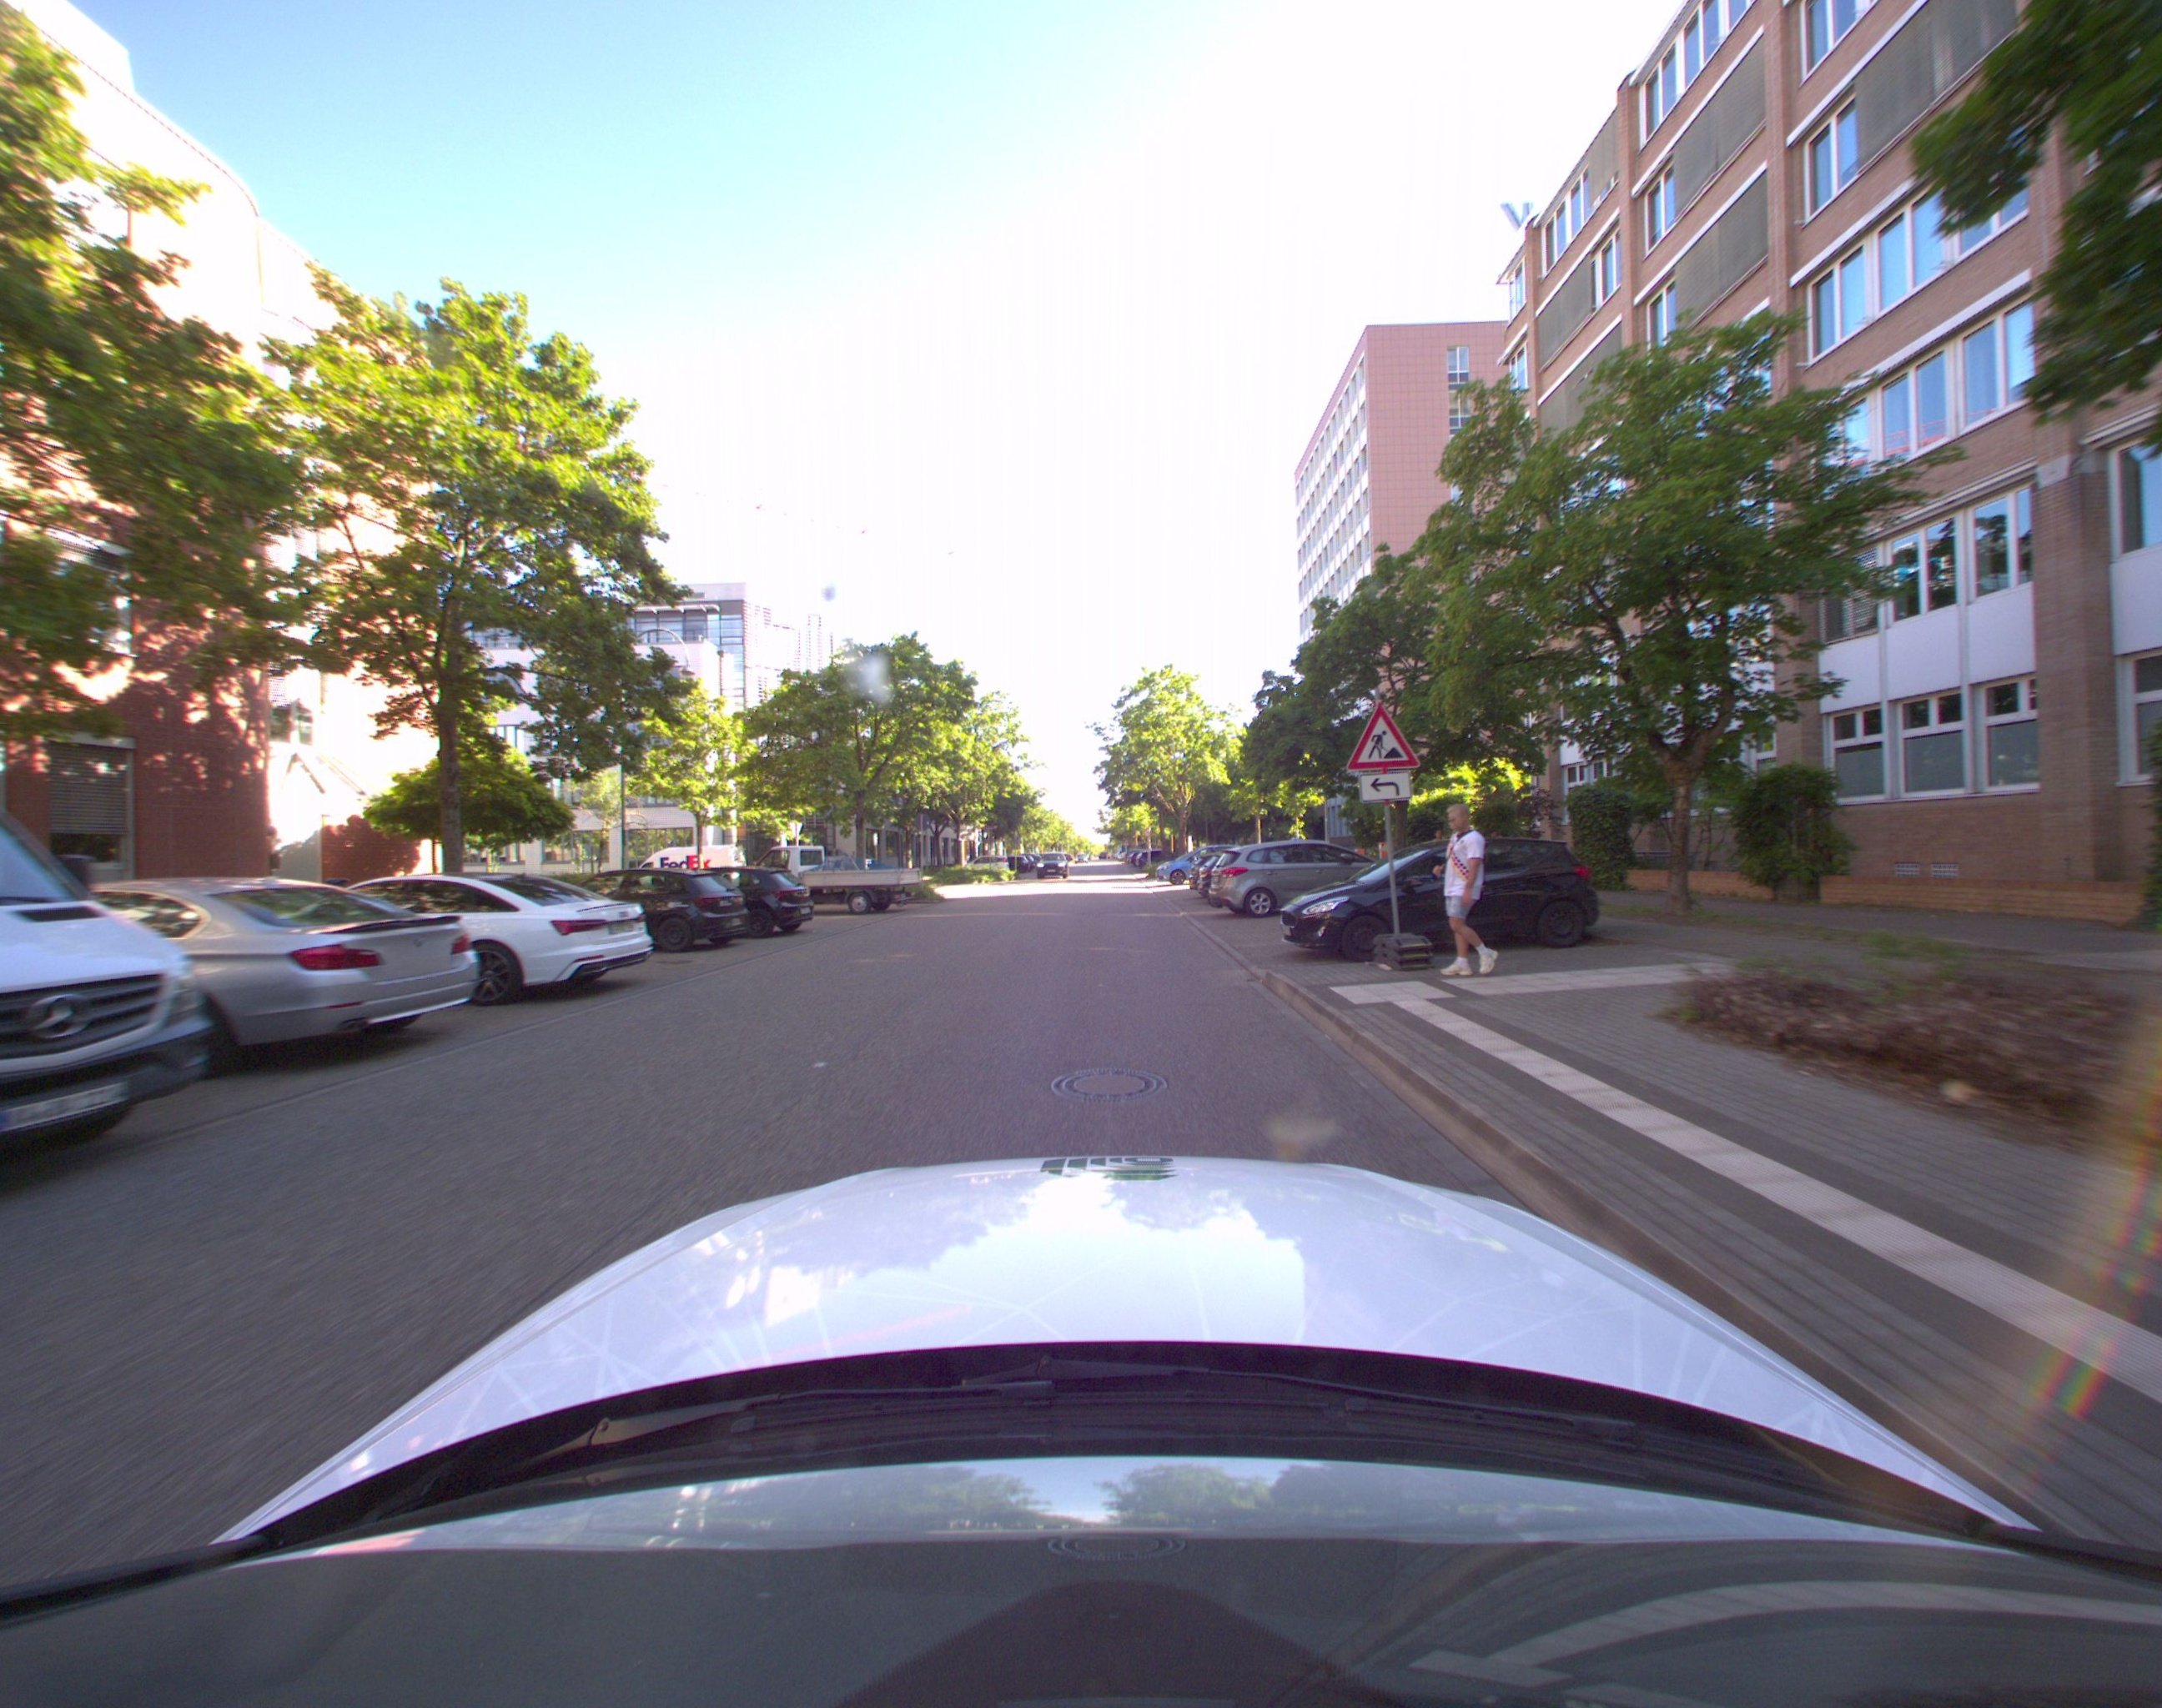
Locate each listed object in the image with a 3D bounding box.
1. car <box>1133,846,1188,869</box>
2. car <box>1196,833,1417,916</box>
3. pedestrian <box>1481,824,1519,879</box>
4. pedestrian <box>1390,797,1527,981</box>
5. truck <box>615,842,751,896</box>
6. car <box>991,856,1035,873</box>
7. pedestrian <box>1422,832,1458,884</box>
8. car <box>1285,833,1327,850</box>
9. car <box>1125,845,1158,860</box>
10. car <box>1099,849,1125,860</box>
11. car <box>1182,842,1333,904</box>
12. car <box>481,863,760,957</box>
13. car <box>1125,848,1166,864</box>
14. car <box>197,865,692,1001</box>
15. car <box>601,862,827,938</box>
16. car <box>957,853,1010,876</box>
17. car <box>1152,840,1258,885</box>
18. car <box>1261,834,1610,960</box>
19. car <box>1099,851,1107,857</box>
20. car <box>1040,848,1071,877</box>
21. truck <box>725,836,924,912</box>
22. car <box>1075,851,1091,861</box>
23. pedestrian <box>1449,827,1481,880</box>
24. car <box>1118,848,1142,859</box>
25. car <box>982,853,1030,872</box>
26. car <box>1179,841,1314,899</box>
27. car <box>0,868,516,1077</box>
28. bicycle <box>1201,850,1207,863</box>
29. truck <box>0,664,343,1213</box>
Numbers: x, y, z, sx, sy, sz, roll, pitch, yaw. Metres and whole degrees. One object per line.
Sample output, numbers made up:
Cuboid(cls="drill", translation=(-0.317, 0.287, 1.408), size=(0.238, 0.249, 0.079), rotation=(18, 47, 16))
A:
Cuboid(cls="car", translation=(6.474, 0.269, 66.796), size=(4.255, 1.633, 1.857), rotation=(-2, 0, -1))
Cuboid(cls="car", translation=(4.949, 0.425, 18.223), size=(4.345, 1.597, 1.936), rotation=(-2, 0, -5))
Cuboid(cls="pedestrian", translation=(12.186, -0.087, 23.690), size=(0.754, 1.552, 0.559), rotation=(-2, 0, -1))
Cuboid(cls="pedestrian", translation=(3.796, 0.331, 8.234), size=(0.918, 1.711, 0.695), rotation=(-5, 0, -12))
Cuboid(cls="truck", translation=(-21.855, 0.804, 44.923), size=(6.087, 2.704, 2.576), rotation=(-2, 0, -2))
Cuboid(cls="car", translation=(-5.983, 0.916, 72.120), size=(3.720, 1.464, 1.676), rotation=(-1, 0, 0))
Cuboid(cls="pedestrian", translation=(10.394, 0.116, 23.599), size=(0.698, 1.458, 0.715), rotation=(-2, 0, -1))
Cuboid(cls="car", translation=(24.776, -1.353, 89.905), size=(4.062, 1.783, 1.998), rotation=(0, 0, -3))
Cuboid(cls="car", translation=(7.261, -0.151, 98.274), size=(3.879, 1.656, 1.858), rotation=(-1, 0, 0))
Cuboid(cls="car", translation=(4.999, 0.030, 131.518), size=(3.979, 1.624, 1.997), rotation=(-1, 0, -4))
Cuboid(cls="car", translation=(4.911, 0.492, 22.965), size=(3.793, 1.408, 1.700), rotation=(-4, 1, -4))
Cuboid(cls="car", translation=(-8.160, 0.963, 14.681), size=(3.972, 1.435, 1.722), rotation=(-2, 1, 1))
Cuboid(cls="car", translation=(6.771, 0.186, 85.834), size=(4.036, 1.491, 1.548), rotation=(-3, 0, -4))
Cuboid(cls="car", translation=(-7.507, 0.887, 9.978), size=(4.526, 1.442, 1.890), rotation=(0, 1, 0))
Cuboid(cls="car", translation=(-7.713, 0.945, 17.333), size=(3.968, 1.435, 1.792), rotation=(-1, 0, 5))
Cuboid(cls="car", translation=(-6.890, 0.757, 58.003), size=(3.570, 1.549, 1.636), rotation=(-1, -3, -1))
Cuboid(cls="car", translation=(5.504, 0.365, 36.640), size=(4.390, 1.618, 1.912), rotation=(-4, 0, 0))
Cuboid(cls="car", translation=(4.605, 0.527, 10.993), size=(3.922, 1.439, 1.774), rotation=(-2, 0, -1))
Cuboid(cls="car", translation=(5.649, 0.021, 211.429), size=(1.926, 1.597, 4.367), rotation=(-2, 0, 1))
Cuboid(cls="car", translation=(-1.601, 0.524, 52.672), size=(1.886, 1.684, 4.351), rotation=(-2, 0, 0))
Cuboid(cls="truck", translation=(-7.314, 0.552, 23.592), size=(4.964, 1.959, 2.140), rotation=(-2, 0, 3))
Cuboid(cls="car", translation=(0.325, 0.295, 116.954), size=(1.804, 1.415, 4.113), rotation=(-1, 0, 5))
Cuboid(cls="pedestrian", translation=(11.171, -0.018, 23.723), size=(0.600, 1.521, 0.594), rotation=(-2, 0, -1))
Cuboid(cls="car", translation=(8.306, -0.098, 138.116), size=(3.979, 1.792, 1.997), rotation=(-1, 0, -4))
Cuboid(cls="car", translation=(-6.198, 0.703, 67.659), size=(3.720, 1.464, 1.676), rotation=(-1, 0, 0))
Cuboid(cls="car", translation=(5.132, 0.474, 25.697), size=(3.833, 1.483, 1.825), rotation=(-4, 1, 0))
Cuboid(cls="car", translation=(-7.814, 0.909, 7.039), size=(4.413, 1.487, 2.000), rotation=(-1, 0, 0))
Cuboid(cls="bicycle", translation=(10.722, 0.226, 71.046), size=(0.377, 1.047, 1.888), rotation=(-3, 0, 7))
Cuboid(cls="truck", translation=(-7.859, 0.466, 4.140), size=(6.208, 2.422, 2.188), rotation=(-2, 0, 1))
